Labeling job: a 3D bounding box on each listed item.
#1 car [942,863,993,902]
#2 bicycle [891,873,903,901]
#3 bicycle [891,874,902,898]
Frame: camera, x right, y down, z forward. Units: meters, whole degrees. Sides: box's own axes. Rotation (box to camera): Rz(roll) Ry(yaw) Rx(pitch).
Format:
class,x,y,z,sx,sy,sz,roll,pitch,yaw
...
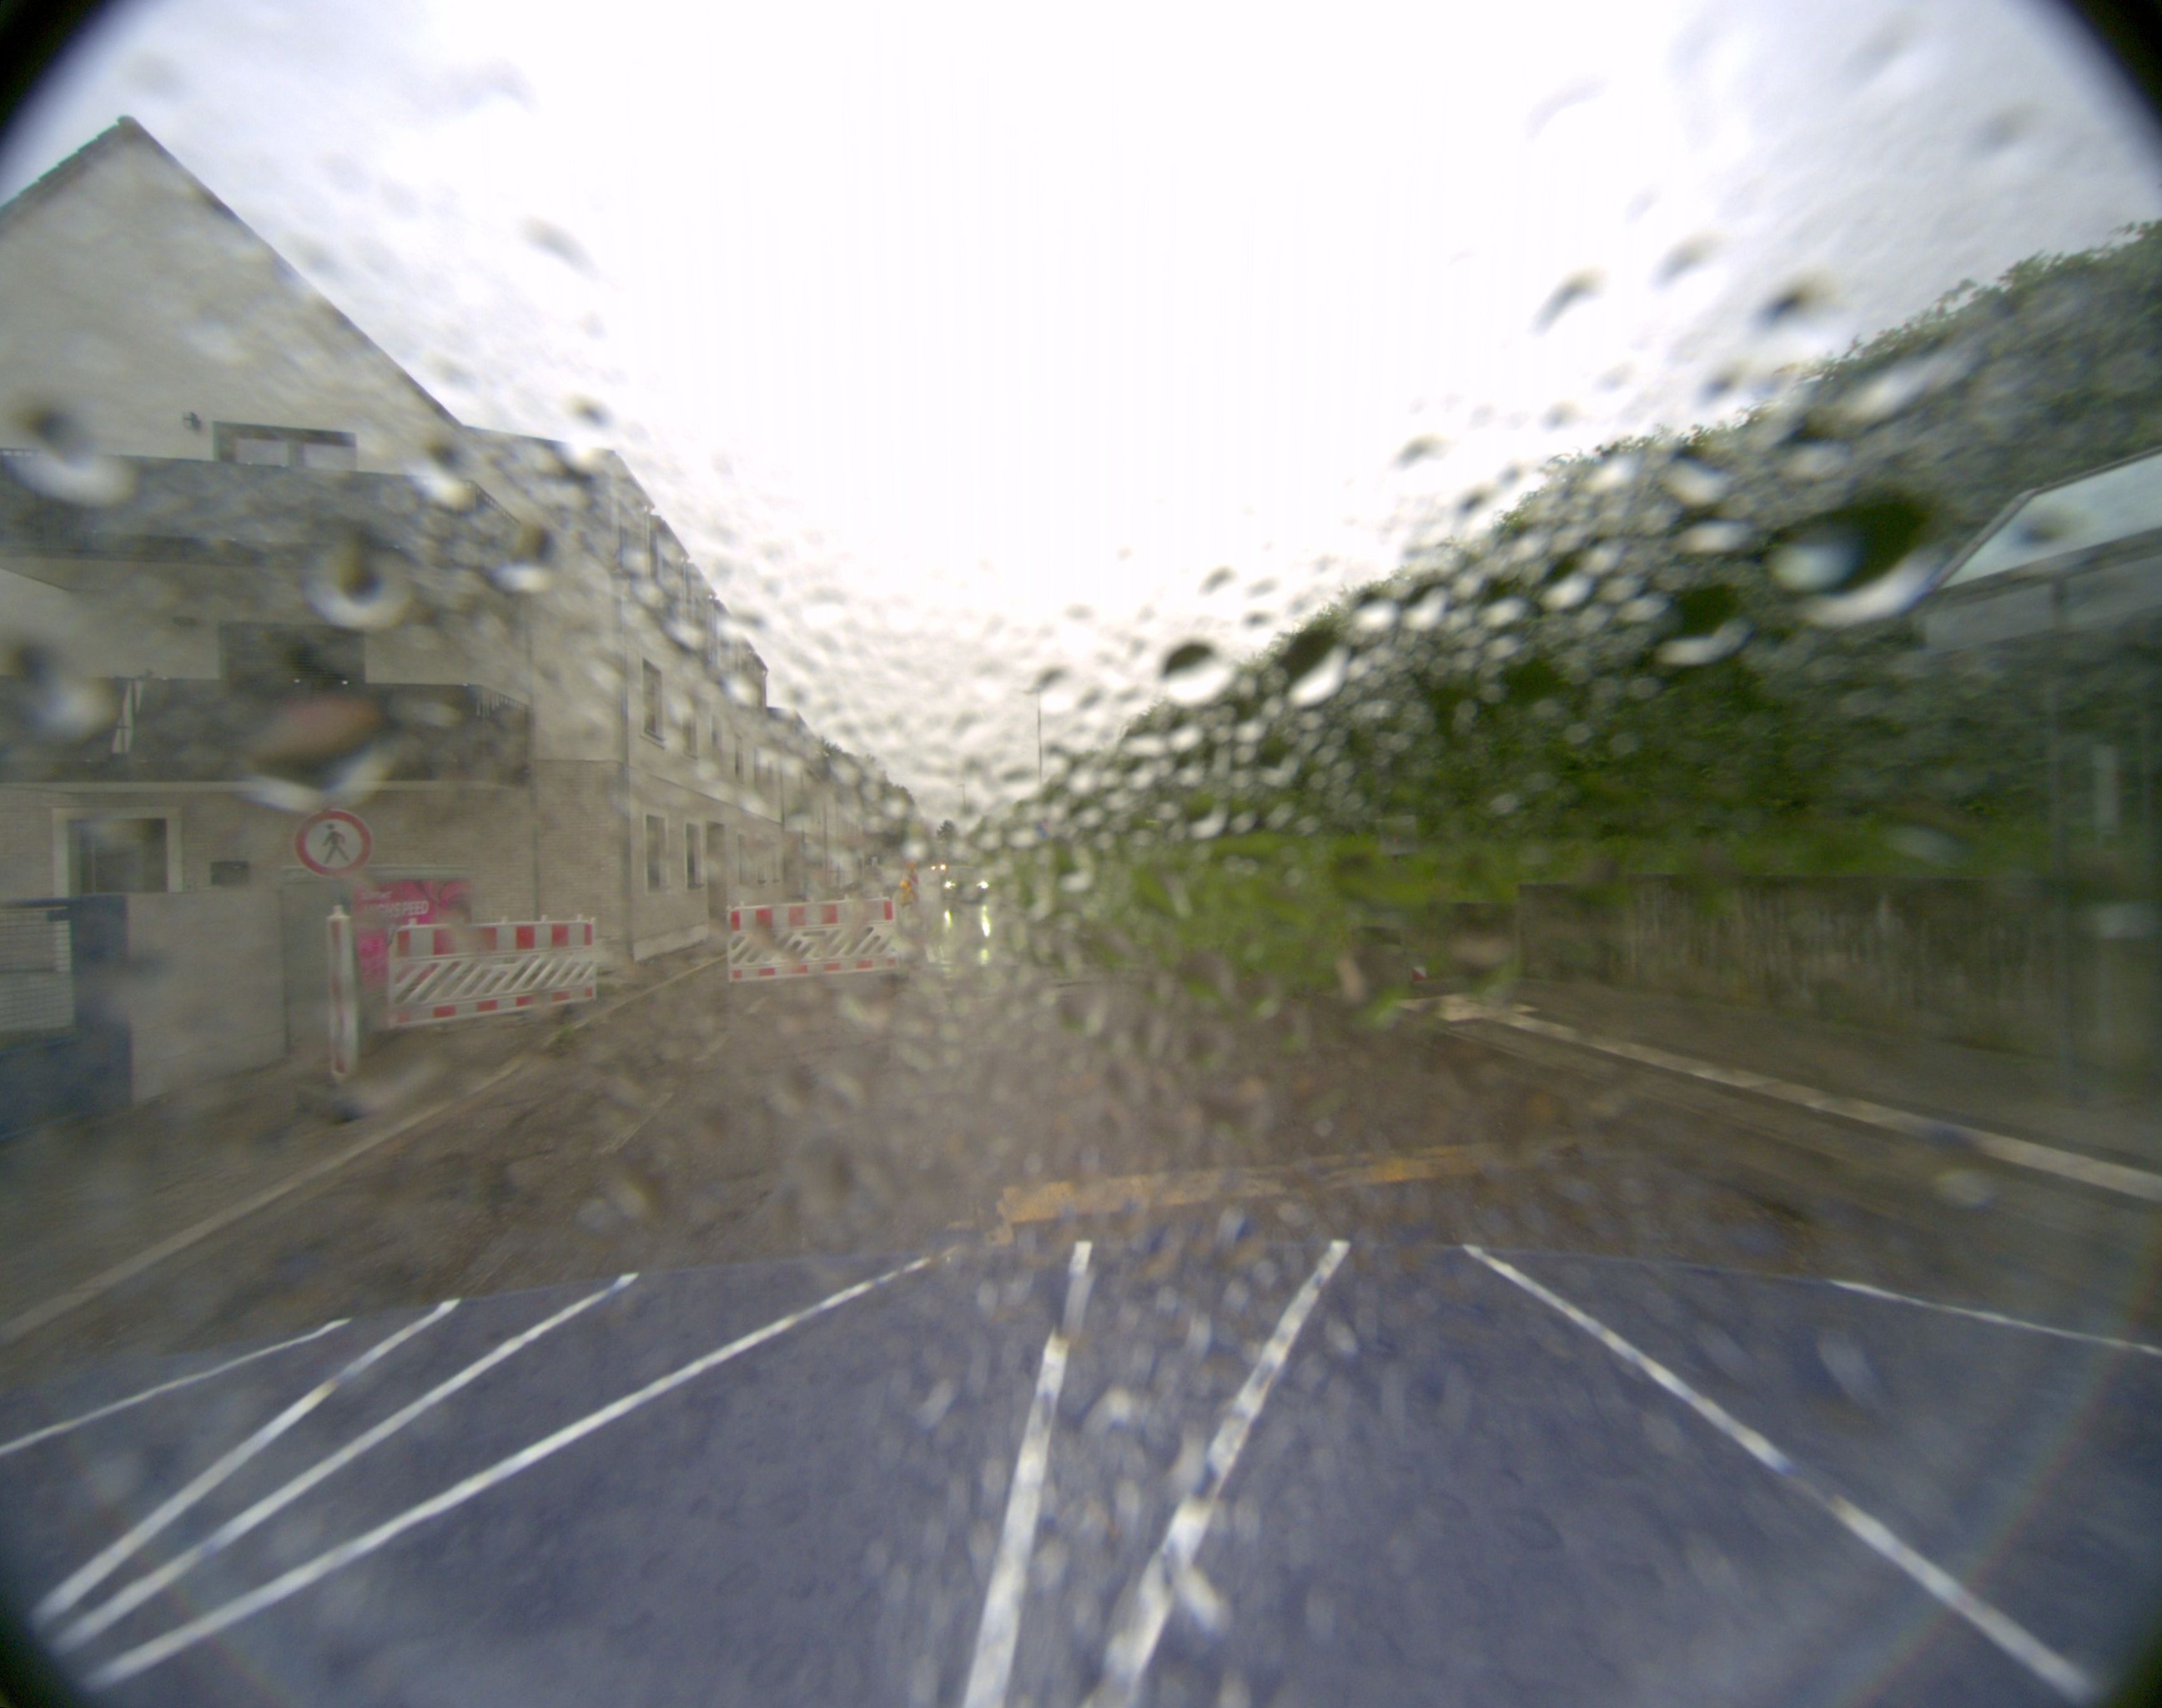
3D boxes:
class,x,y,z,sx,sy,sz,roll,pitch,yaw
car,-4.845,1.135,32.001,1.853,1.444,4.526,-1,0,-12
bicycle,-7.771,1.381,32.069,0.407,1.137,1.220,-1,1,-11
bicycle,-8.315,1.433,34.236,0.407,1.023,1.220,-1,0,-11
